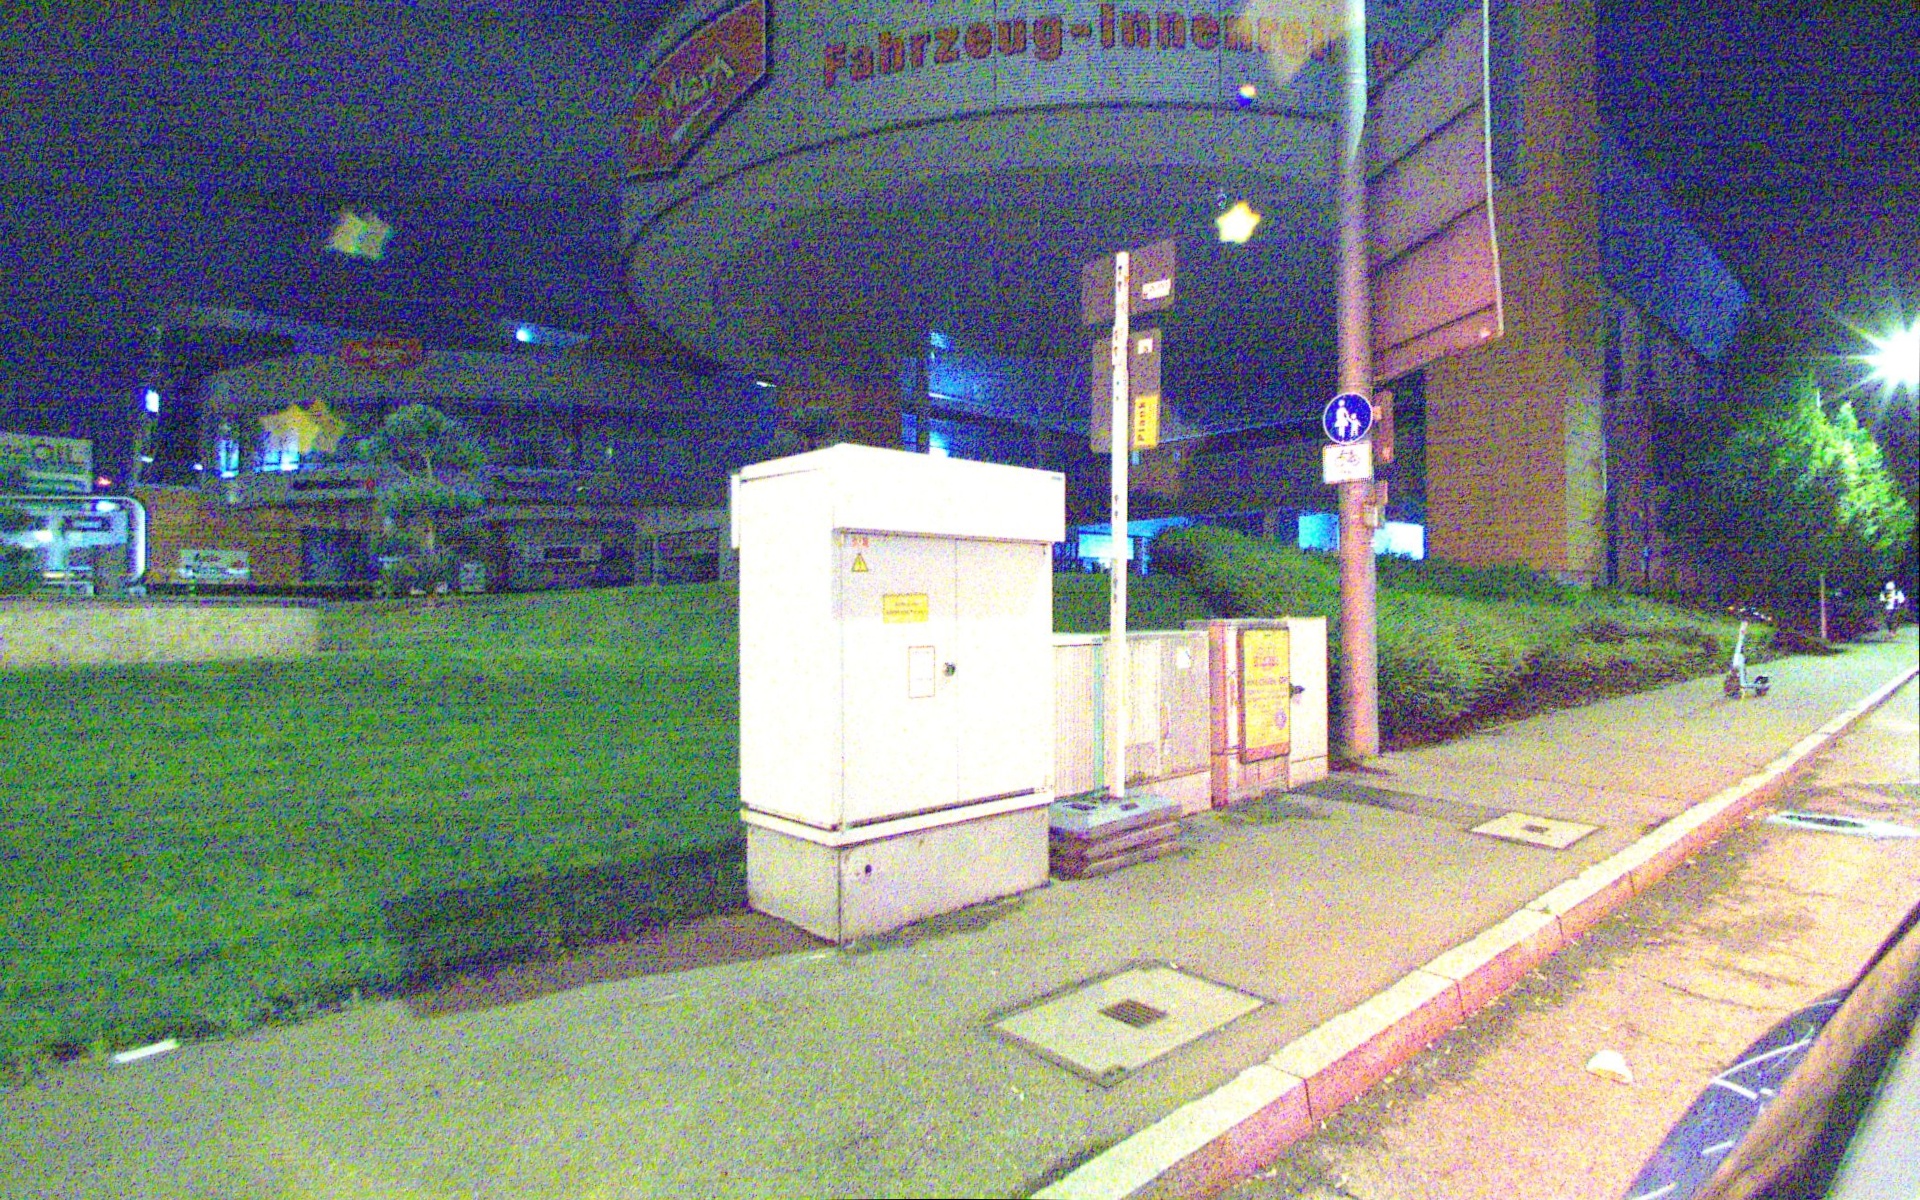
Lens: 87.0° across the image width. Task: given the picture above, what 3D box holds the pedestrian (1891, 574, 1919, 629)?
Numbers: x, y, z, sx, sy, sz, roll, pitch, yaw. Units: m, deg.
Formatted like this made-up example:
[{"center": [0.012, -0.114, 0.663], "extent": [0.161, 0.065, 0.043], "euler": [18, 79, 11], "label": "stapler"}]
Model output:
[{"center": [32.397, 0.055, 34.560], "extent": [0.597, 1.842, 0.824], "euler": [-1, 0, -40], "label": "pedestrian"}]

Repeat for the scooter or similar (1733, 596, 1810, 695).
[{"center": [11.271, 0.601, 14.042], "extent": [1.367, 1.295, 0.569], "euler": [0, 1, -41], "label": "scooter or similar"}]
